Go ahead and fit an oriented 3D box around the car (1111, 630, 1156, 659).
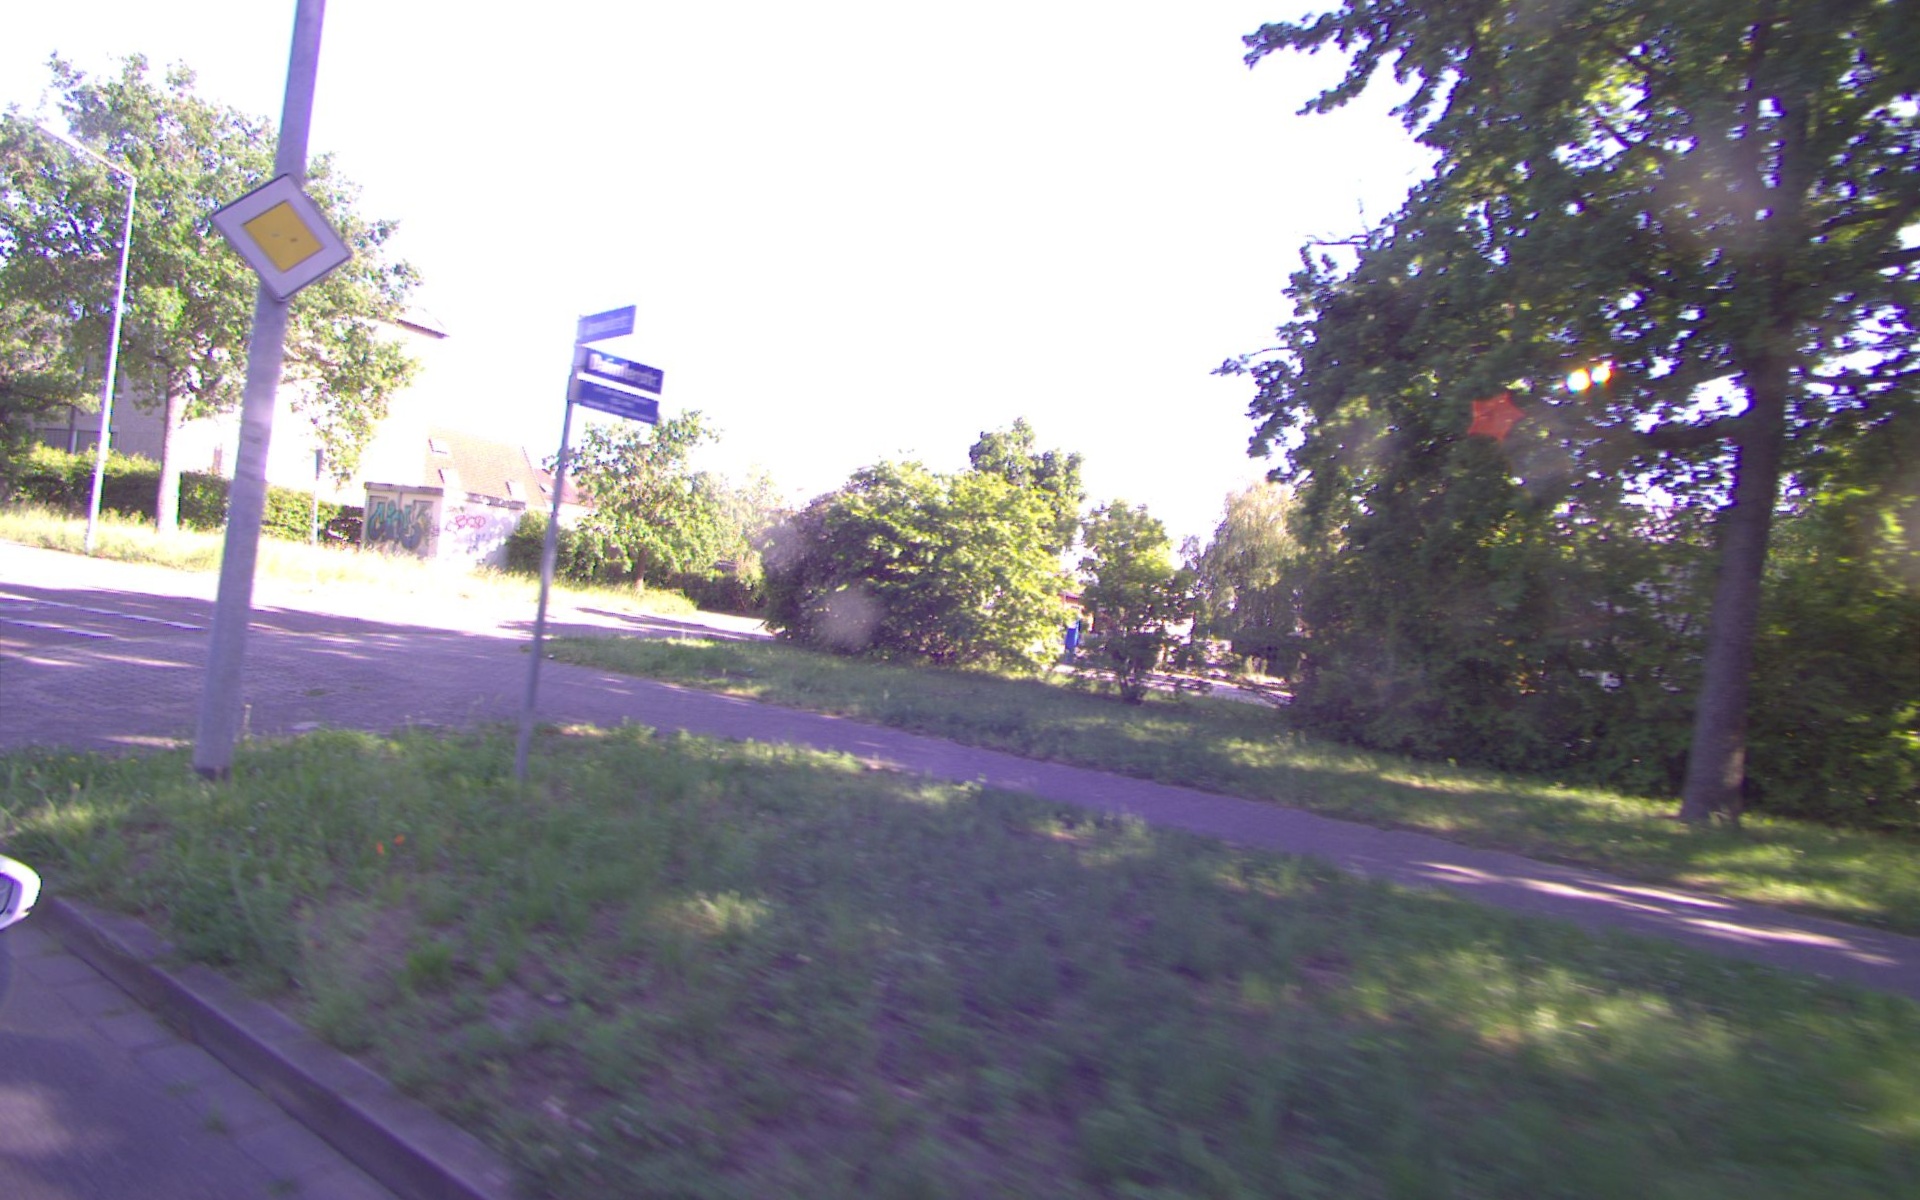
[{"bbox_3d":[12.024,3.079,69.554,1.964,1.558,4.001,7,-2,24],"label":"car"}]
